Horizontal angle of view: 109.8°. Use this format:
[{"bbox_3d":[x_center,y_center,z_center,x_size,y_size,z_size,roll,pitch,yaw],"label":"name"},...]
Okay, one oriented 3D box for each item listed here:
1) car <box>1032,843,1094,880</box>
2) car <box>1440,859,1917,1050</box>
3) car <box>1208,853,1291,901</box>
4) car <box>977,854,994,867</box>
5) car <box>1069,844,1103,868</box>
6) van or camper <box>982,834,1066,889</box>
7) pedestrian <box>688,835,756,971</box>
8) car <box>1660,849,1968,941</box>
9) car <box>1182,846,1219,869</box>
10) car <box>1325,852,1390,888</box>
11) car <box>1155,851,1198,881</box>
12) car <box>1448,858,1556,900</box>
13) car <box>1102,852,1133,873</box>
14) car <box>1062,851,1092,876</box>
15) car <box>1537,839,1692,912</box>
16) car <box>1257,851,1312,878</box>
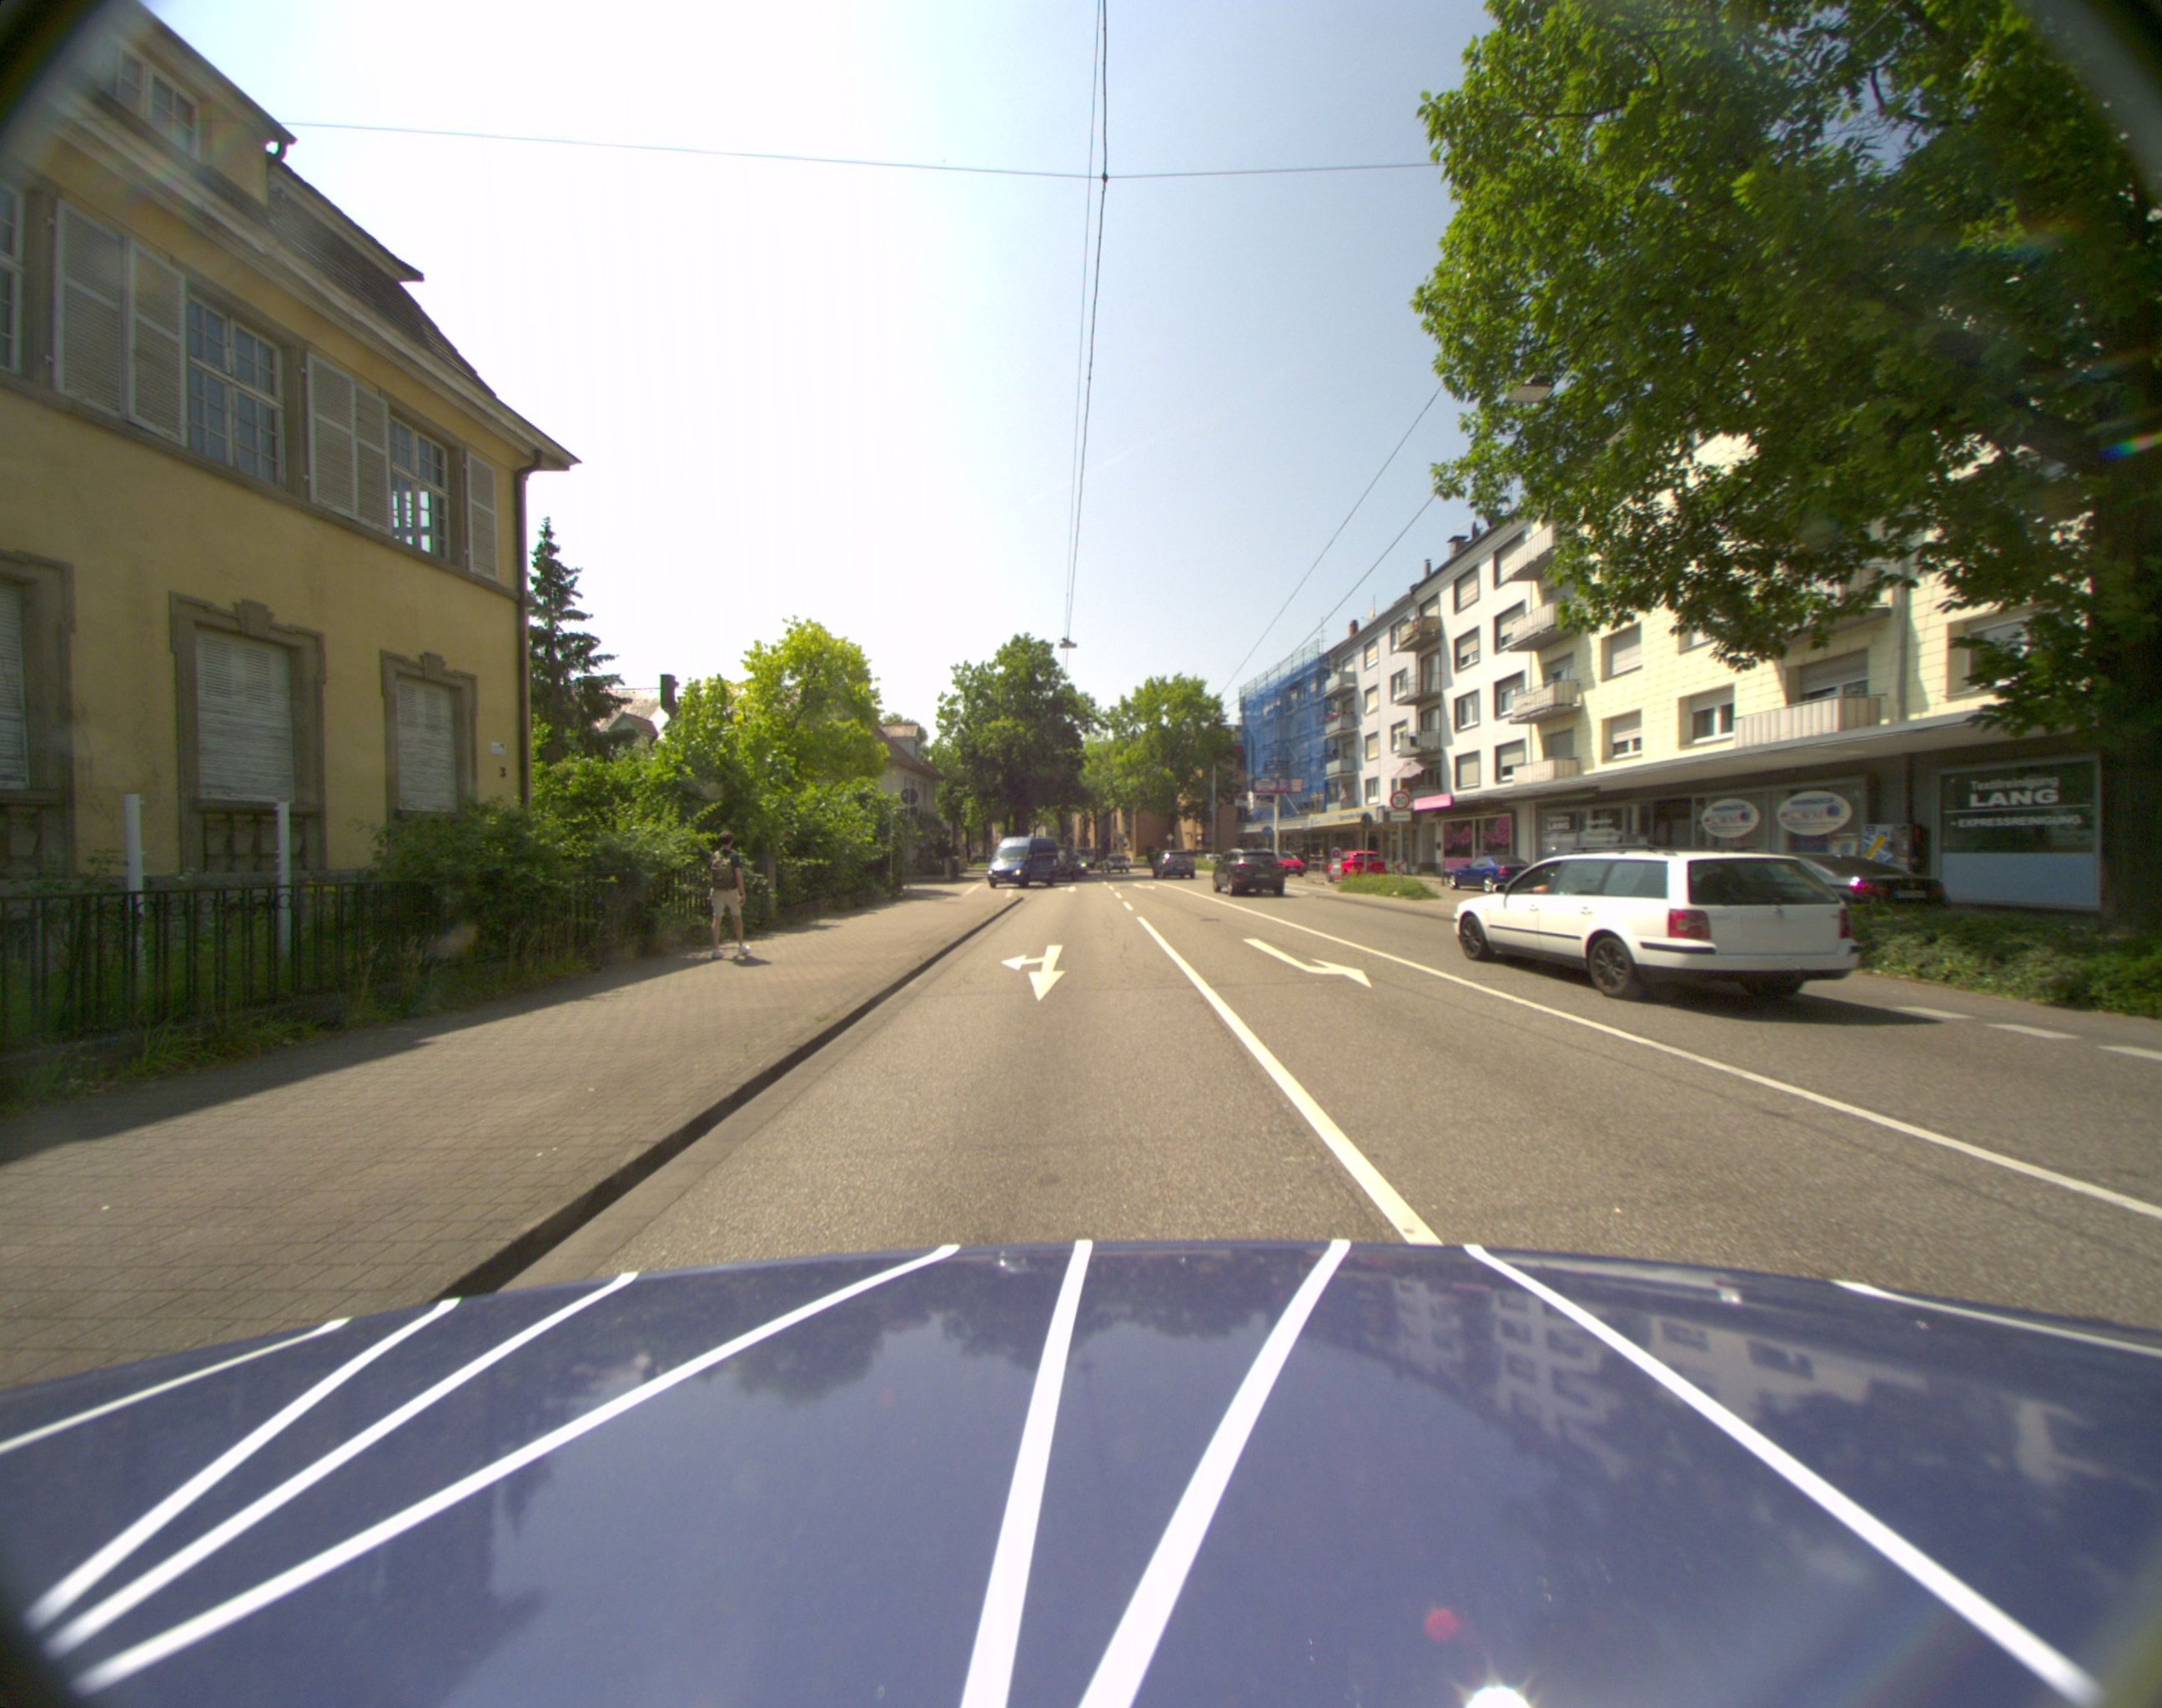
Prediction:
[{"bbox_3d":[-0.956,0.398,44.317,1.995,2.002,4.601,-1,0,20],"label":"car"},{"bbox_3d":[6.075,0.855,8.648,1.820,1.509,4.630,-1,0,1],"label":"car"},{"bbox_3d":[6.035,0.769,27.702,1.985,1.629,4.225,0,0,-2],"label":"car"},{"bbox_3d":[-12.868,0.813,102.178,1.828,1.674,3.995,-2,1,-13],"label":"car"},{"bbox_3d":[0.427,0.172,75.925,2.322,2.229,4.757,-3,0,-12],"label":"car"},{"bbox_3d":[-2.748,0.317,38.395,2.161,2.567,5.853,1,1,18],"label":"van or camper"},{"bbox_3d":[-5.197,0.686,11.039,0.621,1.907,0.744,0,1,0],"label":"pedestrian"},{"bbox_3d":[14.352,0.680,15.388,1.626,1.560,4.839,0,0,1],"label":"car"},{"bbox_3d":[9.962,0.278,63.694,1.914,1.795,4.331,0,0,-7],"label":"car"},{"bbox_3d":[12.137,0.671,33.537,1.639,1.459,3.634,0,1,1],"label":"car"},{"bbox_3d":[5.389,0.635,43.494,1.928,1.598,3.999,0,1,-1],"label":"car"},{"bbox_3d":[14.705,0.818,26.782,1.704,1.279,3.861,-1,1,0],"label":"car"},{"bbox_3d":[2.919,0.667,61.847,1.707,1.463,3.553,-3,3,-10],"label":"car"},{"bbox_3d":[-0.359,0.668,56.143,1.999,1.740,4.444,-2,0,-2],"label":"car"},{"bbox_3d":[14.727,0.541,21.270,1.643,1.828,3.860,-1,0,0],"label":"car"},{"bbox_3d":[11.746,0.566,44.105,1.913,1.511,4.333,0,0,-2],"label":"car"}]
